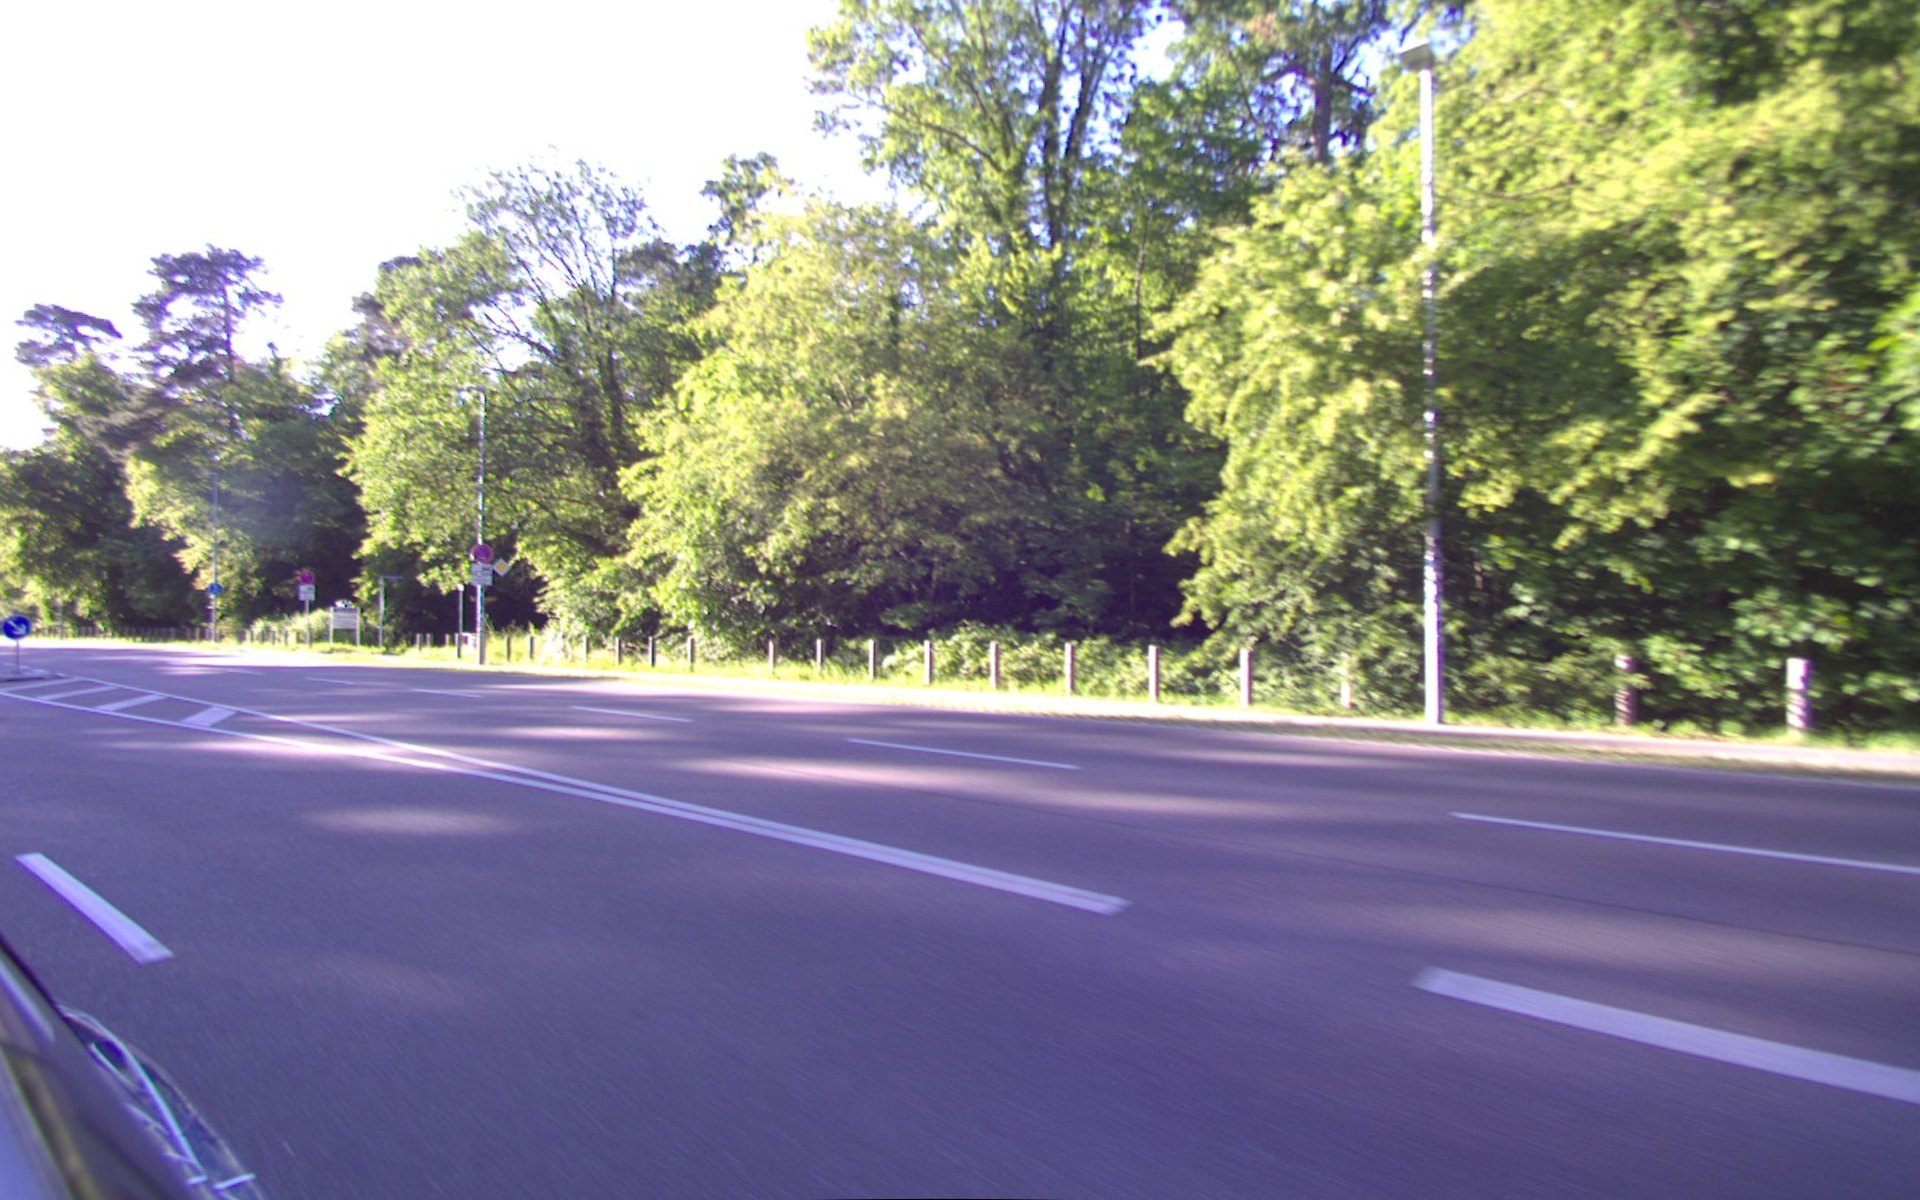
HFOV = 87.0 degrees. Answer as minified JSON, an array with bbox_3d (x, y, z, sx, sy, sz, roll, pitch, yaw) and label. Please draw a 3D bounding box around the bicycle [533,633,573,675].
[{"bbox_3d":[-11.904,1.562,29.538,0.396,1.140,2.223,-1,0,-40],"label":"bicycle"}]
